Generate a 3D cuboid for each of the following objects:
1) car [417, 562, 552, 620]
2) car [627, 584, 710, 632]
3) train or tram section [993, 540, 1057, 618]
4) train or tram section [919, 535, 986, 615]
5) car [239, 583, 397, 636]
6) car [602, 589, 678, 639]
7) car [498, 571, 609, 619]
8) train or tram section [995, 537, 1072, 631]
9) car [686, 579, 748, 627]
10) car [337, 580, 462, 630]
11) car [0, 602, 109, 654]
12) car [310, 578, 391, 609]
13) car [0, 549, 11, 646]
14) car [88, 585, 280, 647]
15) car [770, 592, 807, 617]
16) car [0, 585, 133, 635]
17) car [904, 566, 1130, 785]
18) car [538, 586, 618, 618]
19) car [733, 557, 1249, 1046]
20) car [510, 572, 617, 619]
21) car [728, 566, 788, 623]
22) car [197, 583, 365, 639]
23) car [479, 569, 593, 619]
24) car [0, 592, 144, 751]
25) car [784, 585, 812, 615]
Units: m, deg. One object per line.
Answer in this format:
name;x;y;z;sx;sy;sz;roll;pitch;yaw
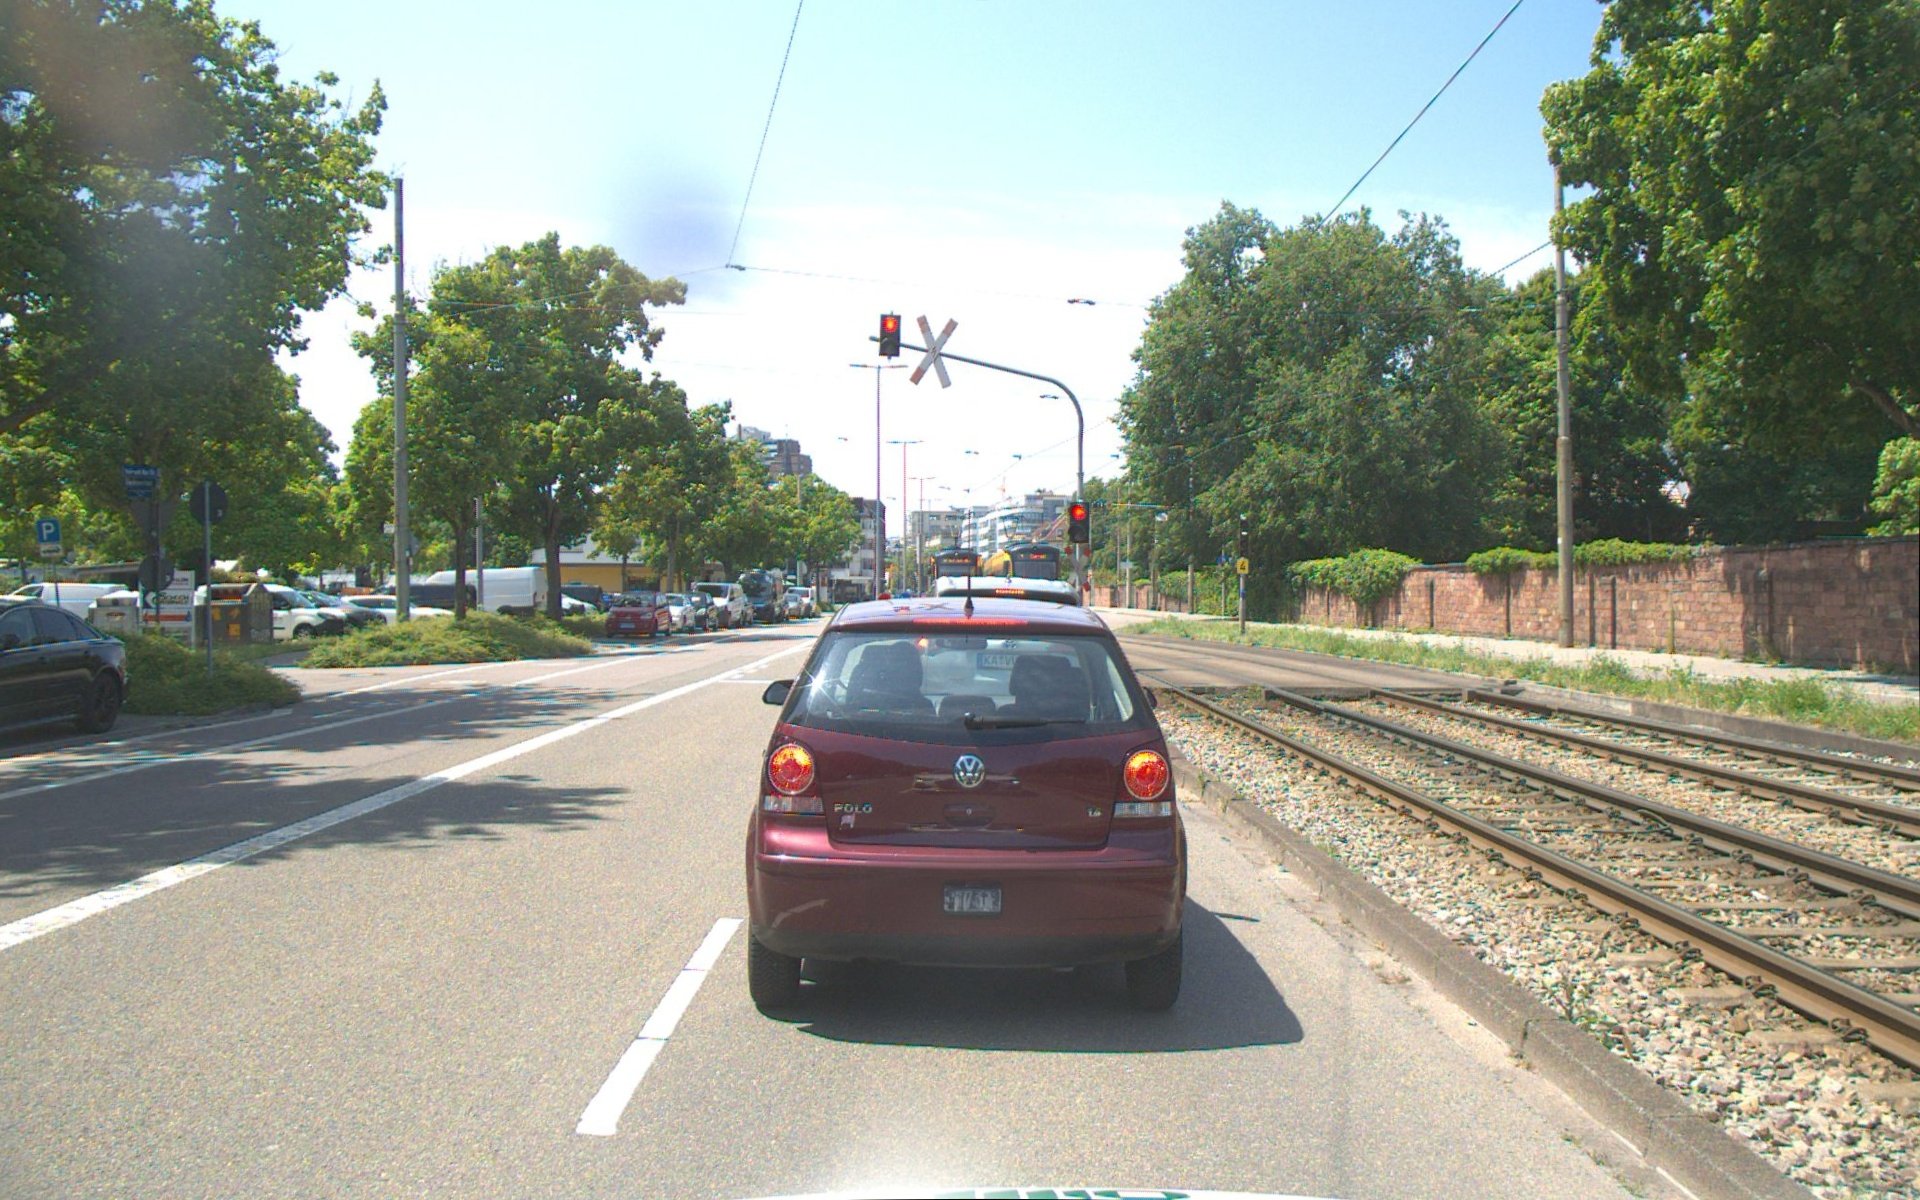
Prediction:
car;-20.369;-0.356;70.990;4.993;2.283;2.378;2;-1;0
car;-10.716;0.297;61.151;1.934;1.629;4.560;2;0;4
train or tram section;3.342;-1.088;88.097;2.966;3.864;13.090;0;0;0
train or tram section;-0.524;-1.246;84.493;2.686;3.672;12.862;2;0;-3
car;-20.350;0.291;52.527;4.251;1.612;1.914;0;0;5
car;-10.523;0.465;54.604;1.628;1.523;4.000;2;0;1
car;-20.806;-0.245;84.793;4.993;2.283;2.378;2;-1;0
train or tram section;3.186;-0.729;75.058;2.966;3.864;13.090;0;0;0
car;-10.426;0.143;71.395;1.746;1.914;4.787;2;0;2
car;-20.490;0.169;60.558;3.906;1.776;1.998;0;0;-2
car;-32.457;0.966;58.327;3.913;1.682;1.812;2;-1;-9
car;-35.296;-0.366;95.819;3.939;1.645;1.816;2;-1;-2
car;-33.075;-0.208;50.450;6.714;3.017;2.363;2;-1;-2
car;-20.916;0.416;44.709;4.256;1.612;1.912;0;0;-3
car;-10.512;0.269;101.630;1.581;1.466;4.001;2;0;3
car;-32.813;0.373;60.738;3.913;1.682;1.812;2;-1;-9
car;0.399;0.576;15.008;1.741;1.676;3.999;2;0;-2
car;-21.169;0.109;91.787;3.938;1.645;1.816;2;-1;0
car;0.056;0.642;7.370;1.638;1.548;3.999;2;0;-2
car;-20.924;-0.229;87.387;4.993;2.283;2.378;2;-1;0
car;-10.279;-0.248;84.441;2.313;2.739;5.307;2;-1;0
car;-20.332;0.318;49.638;4.251;1.612;1.914;0;0;5
car;-21.045;-0.272;82.274;4.993;2.283;2.378;2;-1;0
car;-10.292;0.696;16.857;1.782;1.502;4.448;2;0;-1
car;-10.558;-0.005;107.718;1.741;1.860;3.995;2;0;-6
